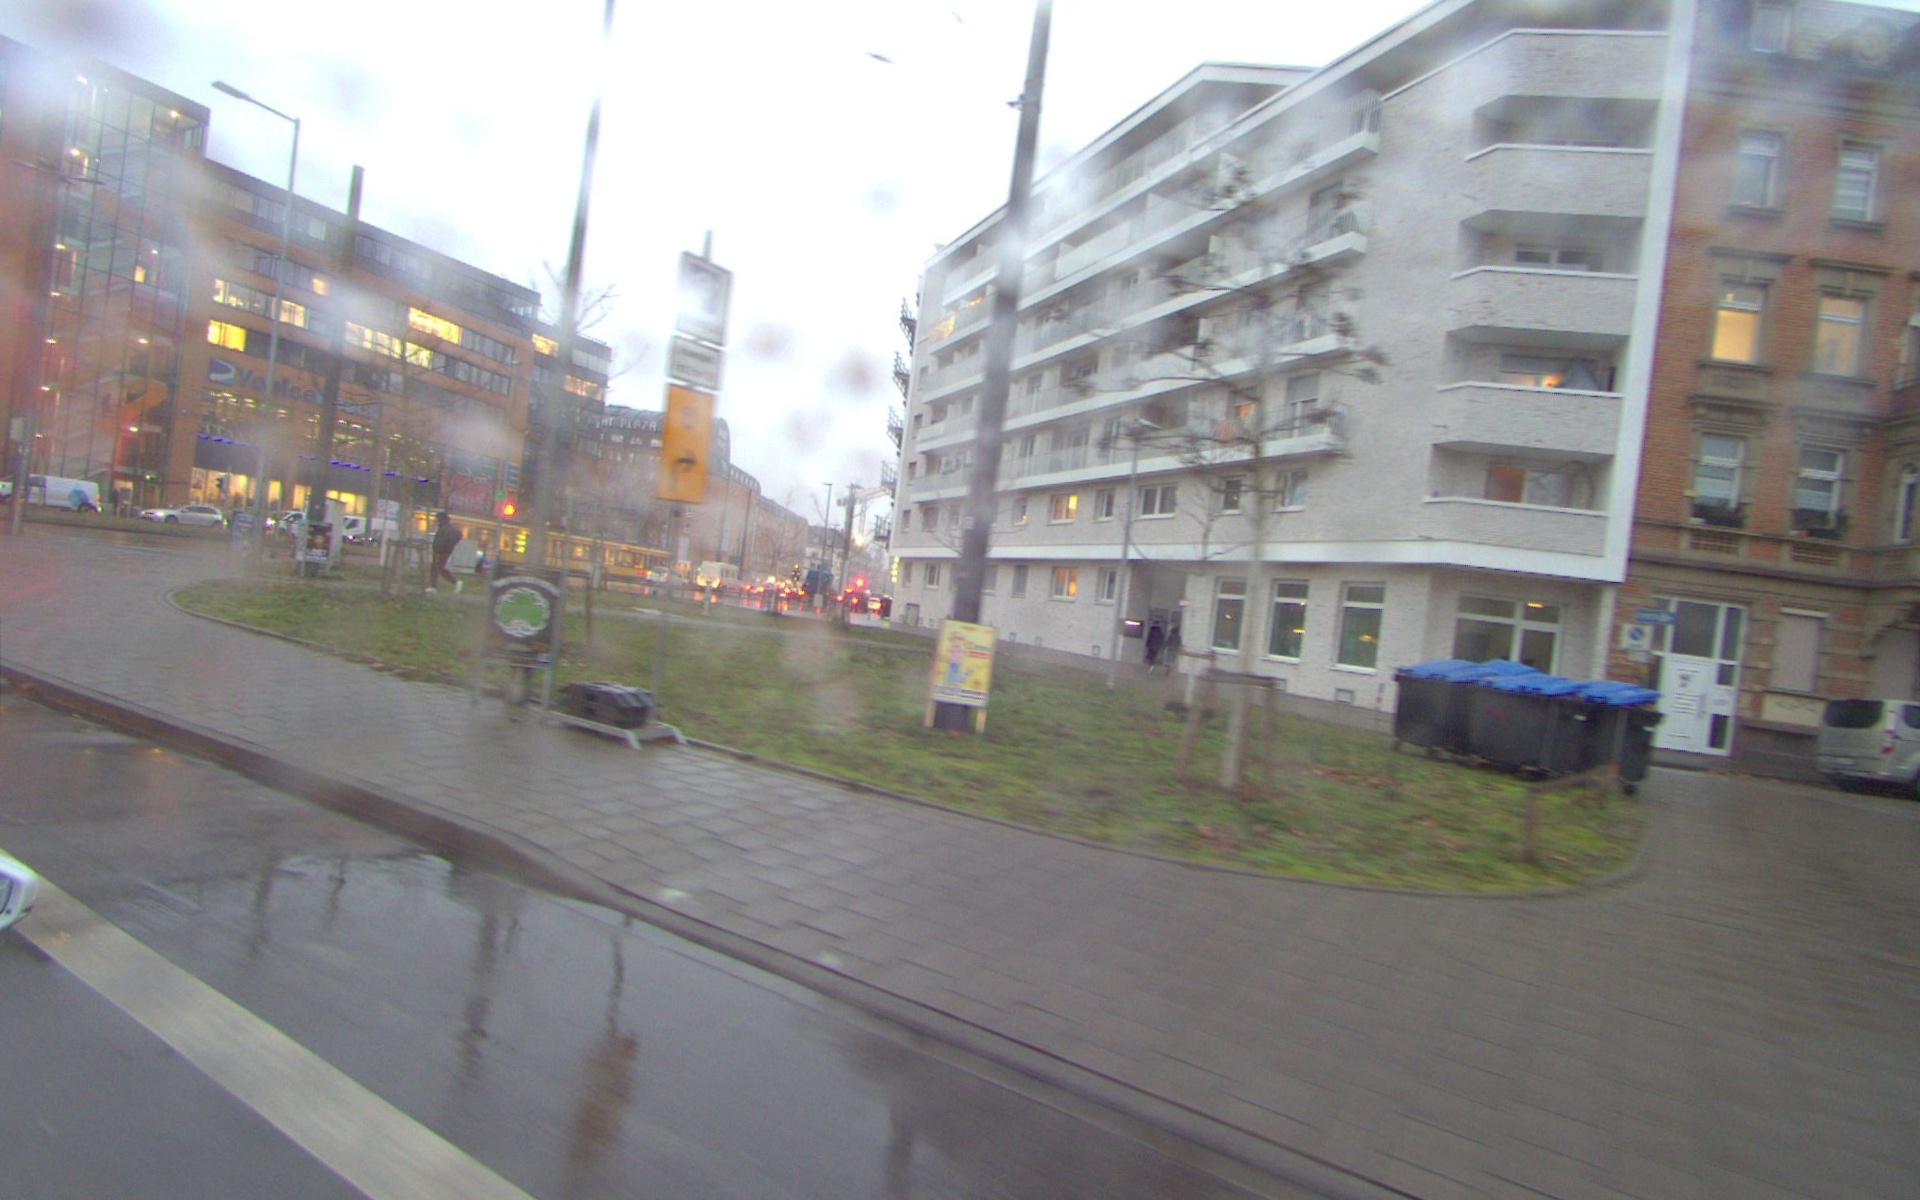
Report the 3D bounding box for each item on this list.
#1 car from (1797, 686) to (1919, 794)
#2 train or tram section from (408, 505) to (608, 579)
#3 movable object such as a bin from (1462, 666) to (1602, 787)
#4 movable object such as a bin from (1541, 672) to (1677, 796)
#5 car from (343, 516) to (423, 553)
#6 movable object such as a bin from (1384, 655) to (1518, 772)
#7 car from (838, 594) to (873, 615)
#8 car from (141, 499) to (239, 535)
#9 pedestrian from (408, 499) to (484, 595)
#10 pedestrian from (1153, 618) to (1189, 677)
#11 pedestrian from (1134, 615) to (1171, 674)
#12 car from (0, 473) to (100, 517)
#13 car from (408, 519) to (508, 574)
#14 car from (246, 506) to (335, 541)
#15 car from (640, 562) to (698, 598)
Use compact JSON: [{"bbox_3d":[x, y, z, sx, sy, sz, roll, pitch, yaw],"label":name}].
[{"bbox_3d":[20.595,3.149,20.788,4.661,1.940,2.002,9,-2,2],"label":"car"},{"bbox_3d":[-30.799,-3.765,70.285,2.292,3.300,16.667,7,-1,16],"label":"train or tram section"},{"bbox_3d":[7.946,1.742,14.021,1.003,1.434,1.217,6,1,-22],"label":"movable object such as a bin"},{"bbox_3d":[9.091,1.857,14.136,1.021,1.507,1.038,9,-2,-13],"label":"movable object such as a bin"},{"bbox_3d":[-42.924,-4.861,74.967,1.767,2.025,4.852,7,0,24],"label":"car"},{"bbox_3d":[7.372,1.685,15.160,1.017,1.513,1.322,7,0,-22],"label":"movable object such as a bin"},{"bbox_3d":[-10.422,0.477,100.530,1.962,1.600,4.094,8,-2,15],"label":"car"},{"bbox_3d":[-45.740,-4.906,59.837,1.767,1.406,4.227,7,-1,24],"label":"car"},{"bbox_3d":[-11.573,-1.180,22.660,1.165,1.946,0.890,10,-2,-36],"label":"pedestrian"},{"bbox_3d":[6.692,1.506,31.921,0.670,1.733,0.625,9,-1,-29],"label":"pedestrian"},{"bbox_3d":[6.030,1.379,31.552,0.670,1.733,0.601,9,-1,-29],"label":"pedestrian"},{"bbox_3d":[-48.413,-5.559,52.877,1.767,1.614,4.432,7,0,24],"label":"car"},{"bbox_3d":[-25.806,-2.718,51.887,1.962,2.036,4.376,8,-2,15],"label":"car"},{"bbox_3d":[-43.621,-4.952,65.637,1.767,1.553,4.444,7,0,24],"label":"car"},{"bbox_3d":[-22.234,-1.510,76.995,1.963,2.036,4.004,8,-2,21],"label":"car"}]
